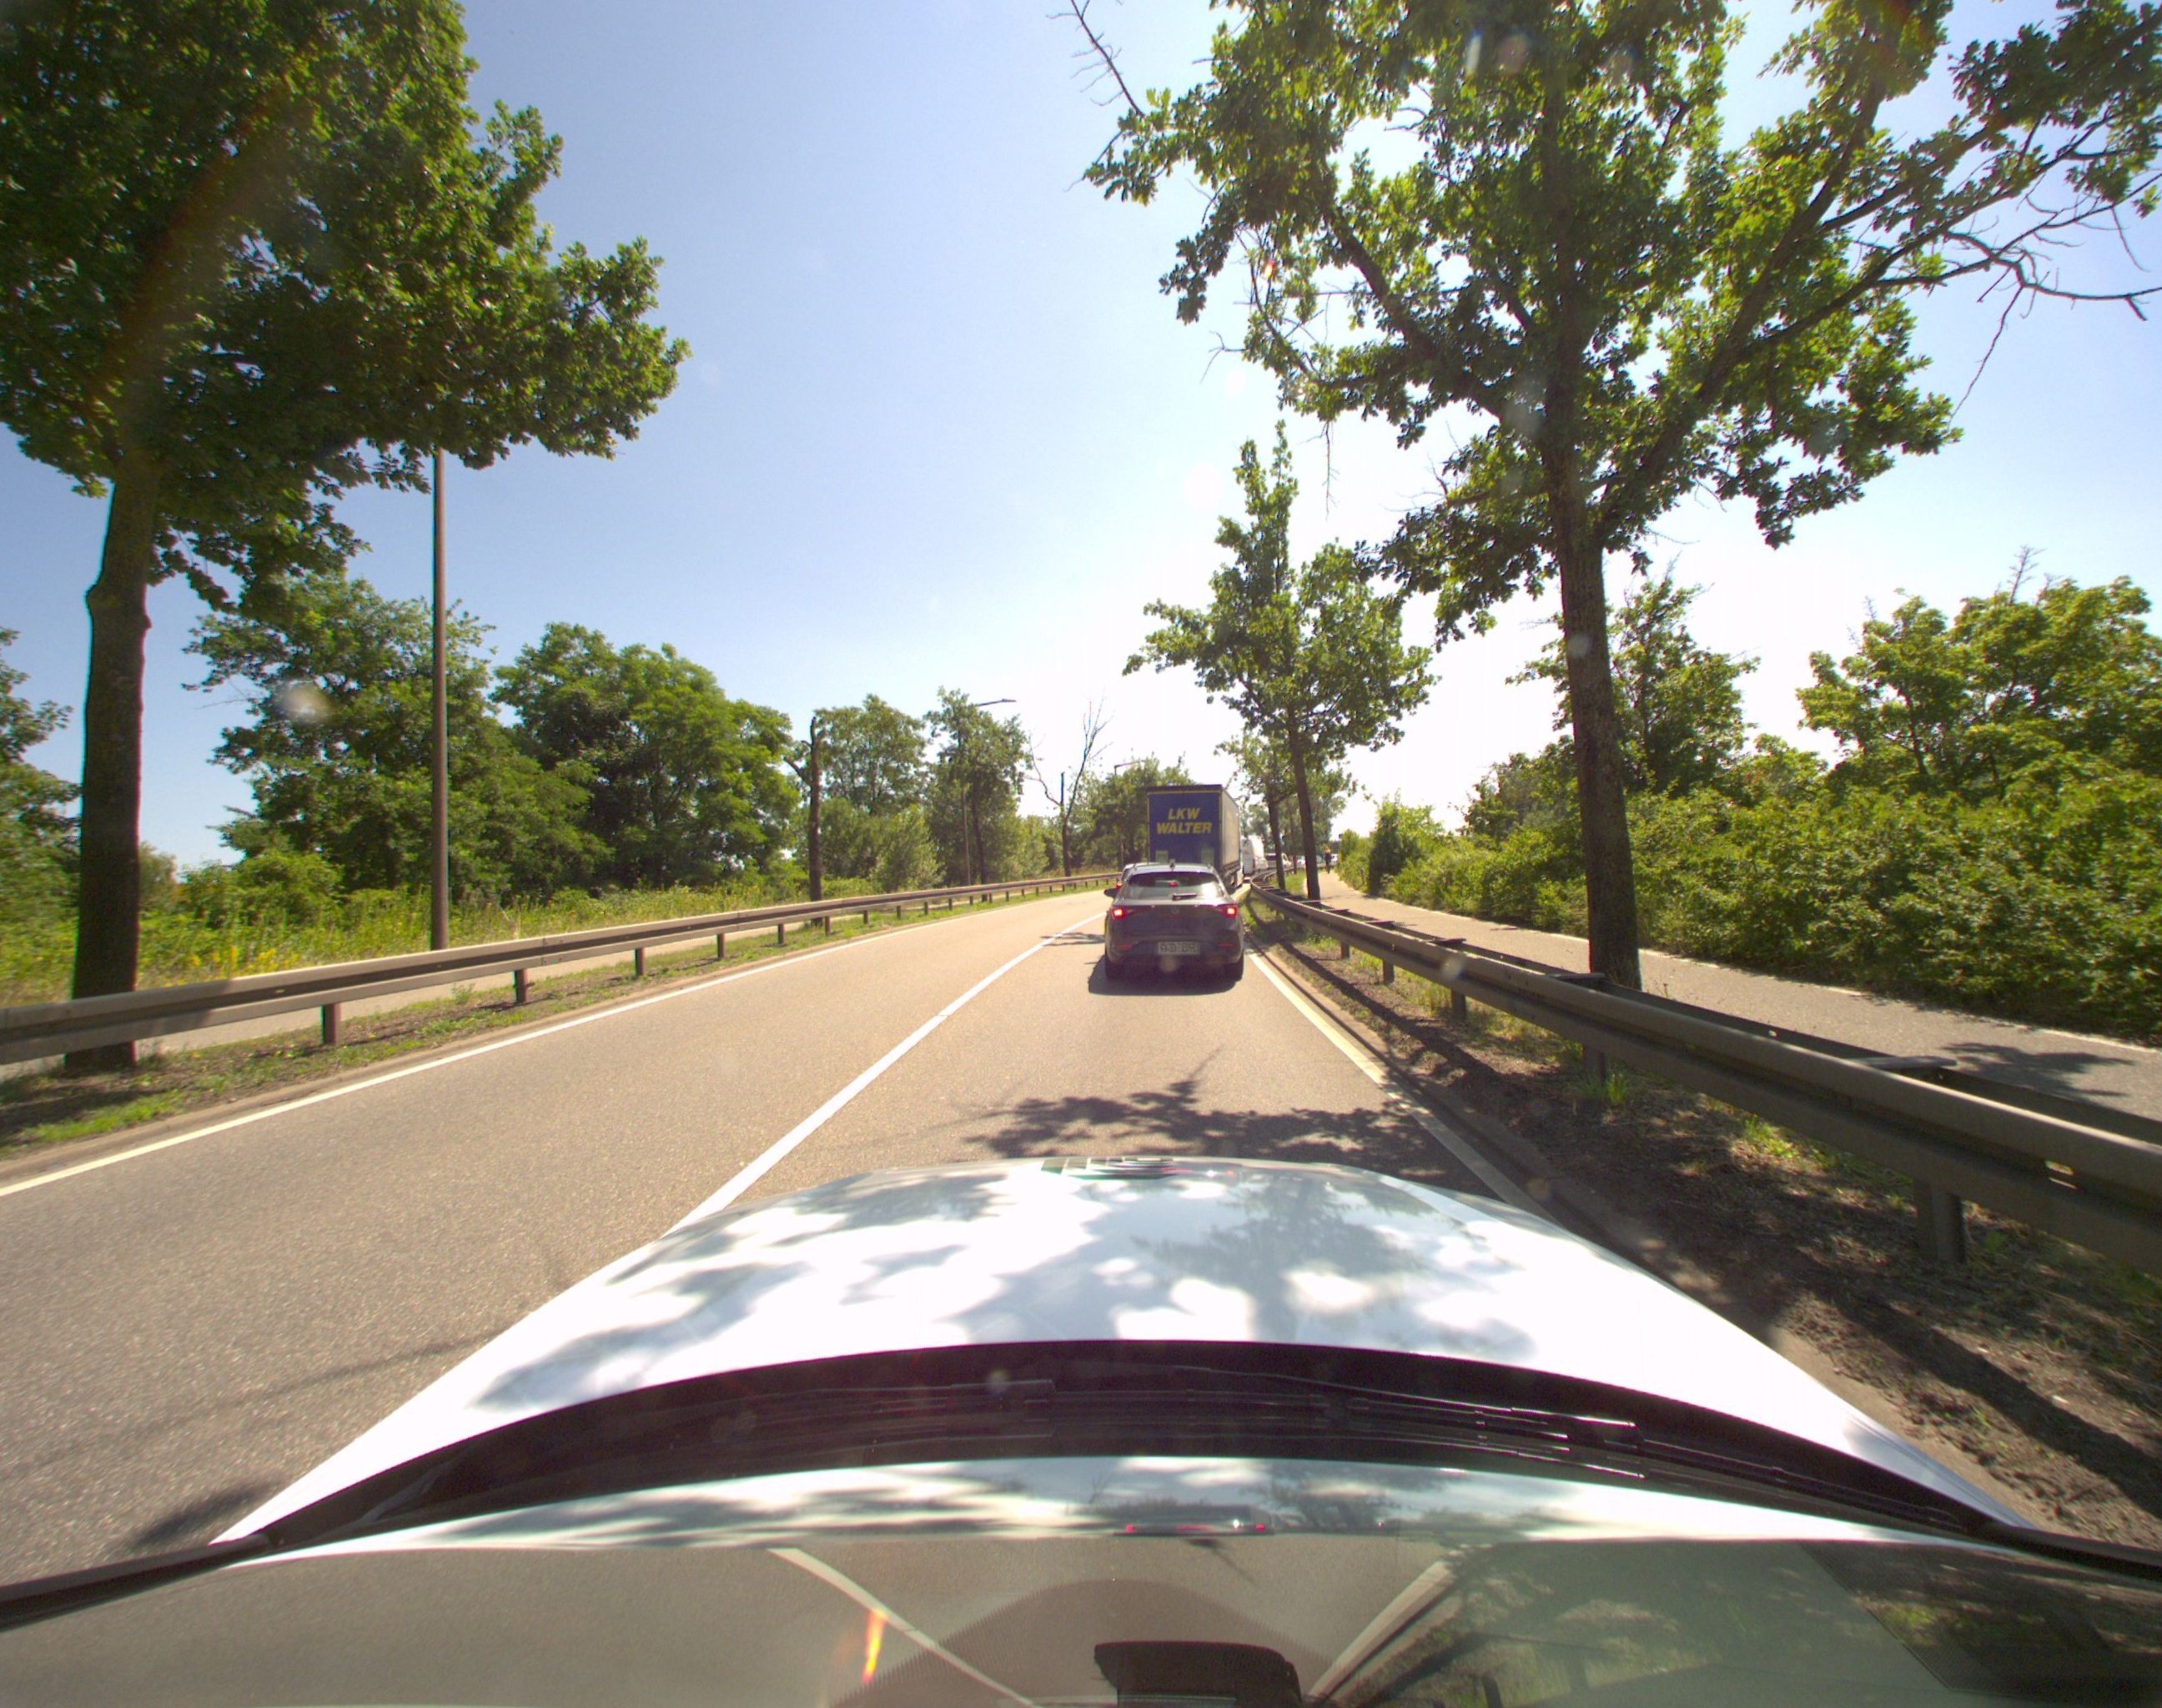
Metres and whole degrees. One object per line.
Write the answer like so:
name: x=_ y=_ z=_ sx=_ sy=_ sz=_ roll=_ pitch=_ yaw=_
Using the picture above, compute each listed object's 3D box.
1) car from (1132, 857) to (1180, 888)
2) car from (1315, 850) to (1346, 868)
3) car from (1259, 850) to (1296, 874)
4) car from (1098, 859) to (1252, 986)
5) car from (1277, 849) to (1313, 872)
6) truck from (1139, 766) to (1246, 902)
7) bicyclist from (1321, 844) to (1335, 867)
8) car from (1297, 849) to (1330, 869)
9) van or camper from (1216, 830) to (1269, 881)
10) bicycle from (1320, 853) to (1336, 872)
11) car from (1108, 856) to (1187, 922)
car: x=4.286 y=1.008 z=45.790 sx=1.855 sy=1.603 sz=4.412 roll=-1 pitch=0 yaw=16
car: x=24.403 y=0.486 z=79.475 sx=1.975 sy=1.768 sz=4.783 roll=-1 pitch=-1 yaw=27
car: x=14.628 y=0.586 z=60.588 sx=1.976 sy=1.712 sz=4.644 roll=-1 pitch=-1 yaw=22
car: x=1.227 y=0.807 z=11.279 sx=1.736 sy=1.432 sz=3.884 roll=-1 pitch=-1 yaw=4
car: x=17.592 y=0.557 z=66.753 sx=1.975 sy=1.808 sz=4.874 roll=-1 pitch=-1 yaw=26
truck: x=5.342 y=-0.589 z=35.333 sx=2.929 sy=4.449 sz=16.857 roll=-1 pitch=-1 yaw=13
bicyclist: x=16.382 y=0.089 z=54.011 sx=0.853 sy=1.523 sz=0.985 roll=-1 pitch=-1 yaw=19
car: x=20.970 y=0.470 z=73.355 sx=1.975 sy=1.717 sz=4.897 roll=-1 pitch=-1 yaw=26
van or camper: x=10.128 y=0.120 z=50.779 sx=2.446 sy=2.998 sz=6.114 roll=-1 pitch=-1 yaw=18
bicycle: x=16.405 y=0.548 z=54.104 sx=0.853 sy=1.237 sz=2.321 roll=-1 pitch=-1 yaw=21
car: x=1.754 y=0.836 z=20.854 sx=1.800 sy=1.508 sz=4.006 roll=-1 pitch=-1 yaw=6
